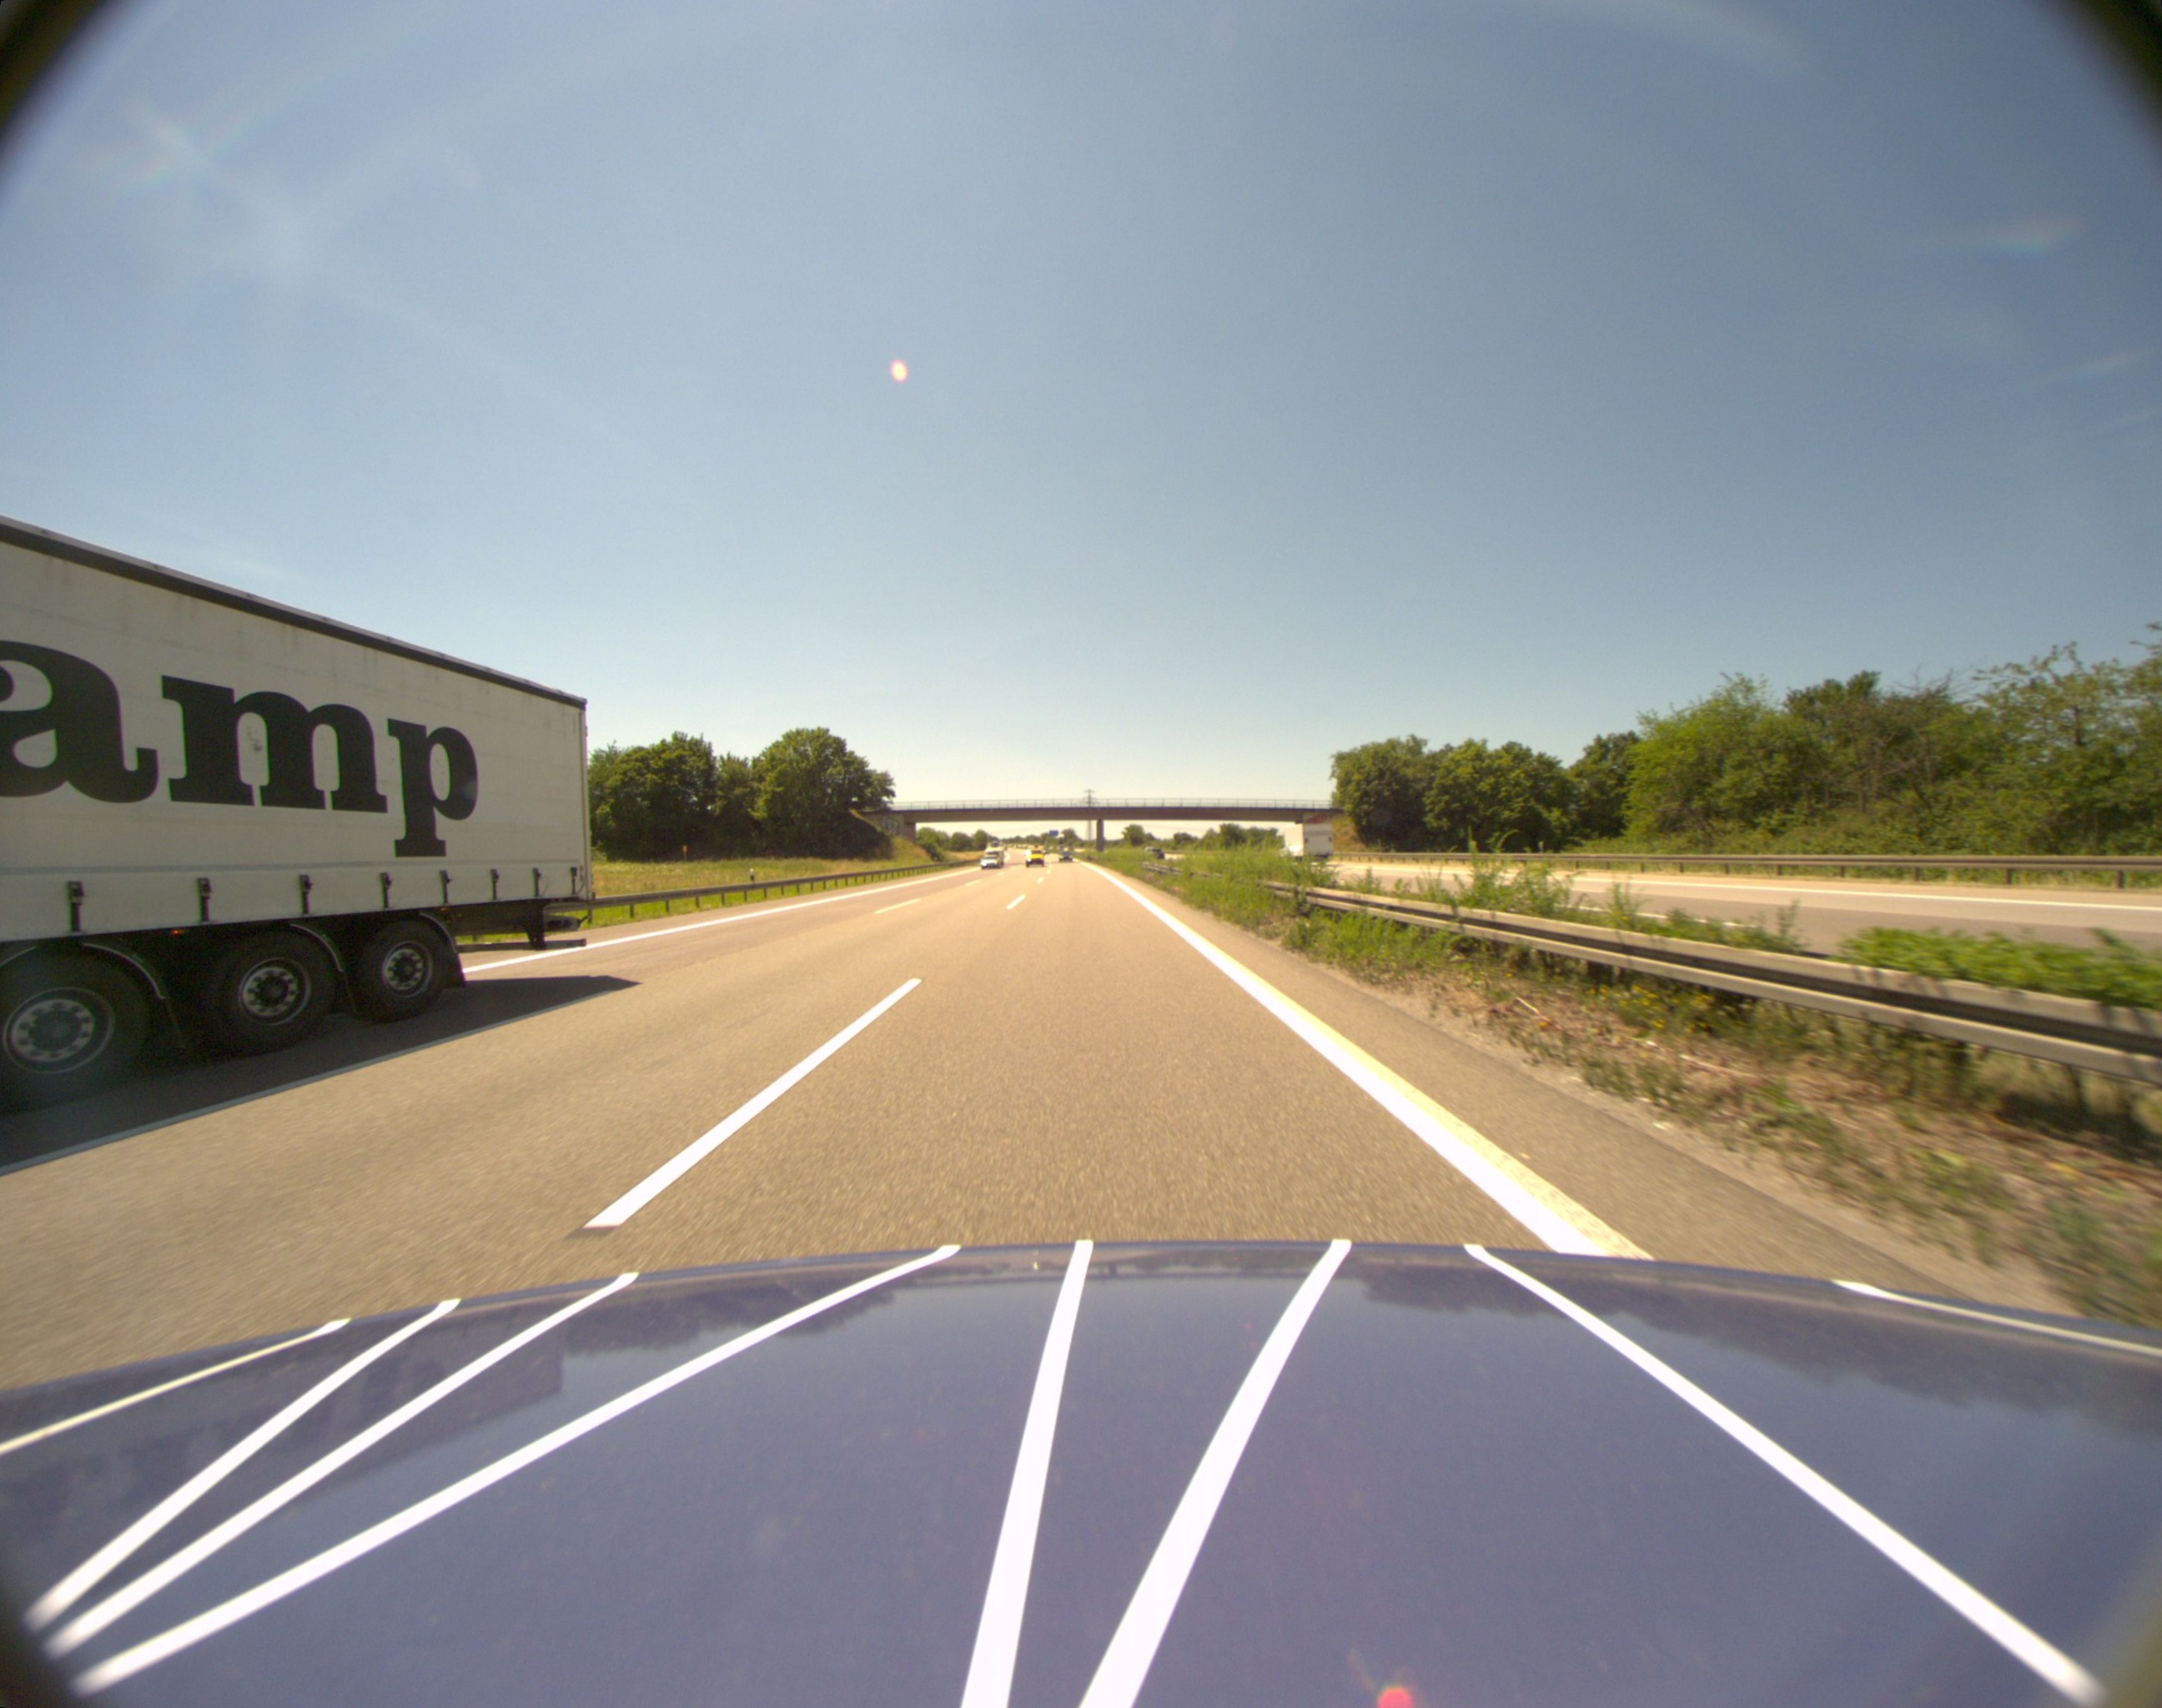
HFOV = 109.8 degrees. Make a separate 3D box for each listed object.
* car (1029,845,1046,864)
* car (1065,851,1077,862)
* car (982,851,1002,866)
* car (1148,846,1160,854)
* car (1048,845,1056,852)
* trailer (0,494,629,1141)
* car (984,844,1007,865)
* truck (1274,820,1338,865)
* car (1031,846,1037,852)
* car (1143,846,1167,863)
[{"bbox_3d":[-4.630,0.034,80.551,1.777,1.882,3.830,-1,1,-4],"label":"car"},{"bbox_3d":[-1.415,0.377,107.909,1.726,1.478,3.999,-2,1,-1],"label":"car"},{"bbox_3d":[-9.192,0.419,78.525,1.784,1.467,3.998,-1,1,-4],"label":"car"},{"bbox_3d":[13.619,-0.787,142.223,1.715,1.565,4.403,-1,1,0],"label":"car"},{"bbox_3d":[-7.963,-1.467,207.154,1.999,1.707,3.998,-1,1,-4],"label":"car"},{"bbox_3d":[-8.355,-0.216,4.924,2.602,4.227,13.636,-2,1,0],"label":"trailer"},{"bbox_3d":[-9.540,-0.022,85.065,2.188,2.253,4.949,-1,1,-4],"label":"car"},{"bbox_3d":[16.669,-0.819,56.702,2.458,3.081,6.988,-1,1,-2],"label":"truck"},{"bbox_3d":[-12.503,-1.206,201.426,1.649,1.557,3.598,-1,1,-4],"label":"car"},{"bbox_3d":[7.884,0.031,81.343,1.999,1.718,5.202,-1,1,-1],"label":"car"}]
